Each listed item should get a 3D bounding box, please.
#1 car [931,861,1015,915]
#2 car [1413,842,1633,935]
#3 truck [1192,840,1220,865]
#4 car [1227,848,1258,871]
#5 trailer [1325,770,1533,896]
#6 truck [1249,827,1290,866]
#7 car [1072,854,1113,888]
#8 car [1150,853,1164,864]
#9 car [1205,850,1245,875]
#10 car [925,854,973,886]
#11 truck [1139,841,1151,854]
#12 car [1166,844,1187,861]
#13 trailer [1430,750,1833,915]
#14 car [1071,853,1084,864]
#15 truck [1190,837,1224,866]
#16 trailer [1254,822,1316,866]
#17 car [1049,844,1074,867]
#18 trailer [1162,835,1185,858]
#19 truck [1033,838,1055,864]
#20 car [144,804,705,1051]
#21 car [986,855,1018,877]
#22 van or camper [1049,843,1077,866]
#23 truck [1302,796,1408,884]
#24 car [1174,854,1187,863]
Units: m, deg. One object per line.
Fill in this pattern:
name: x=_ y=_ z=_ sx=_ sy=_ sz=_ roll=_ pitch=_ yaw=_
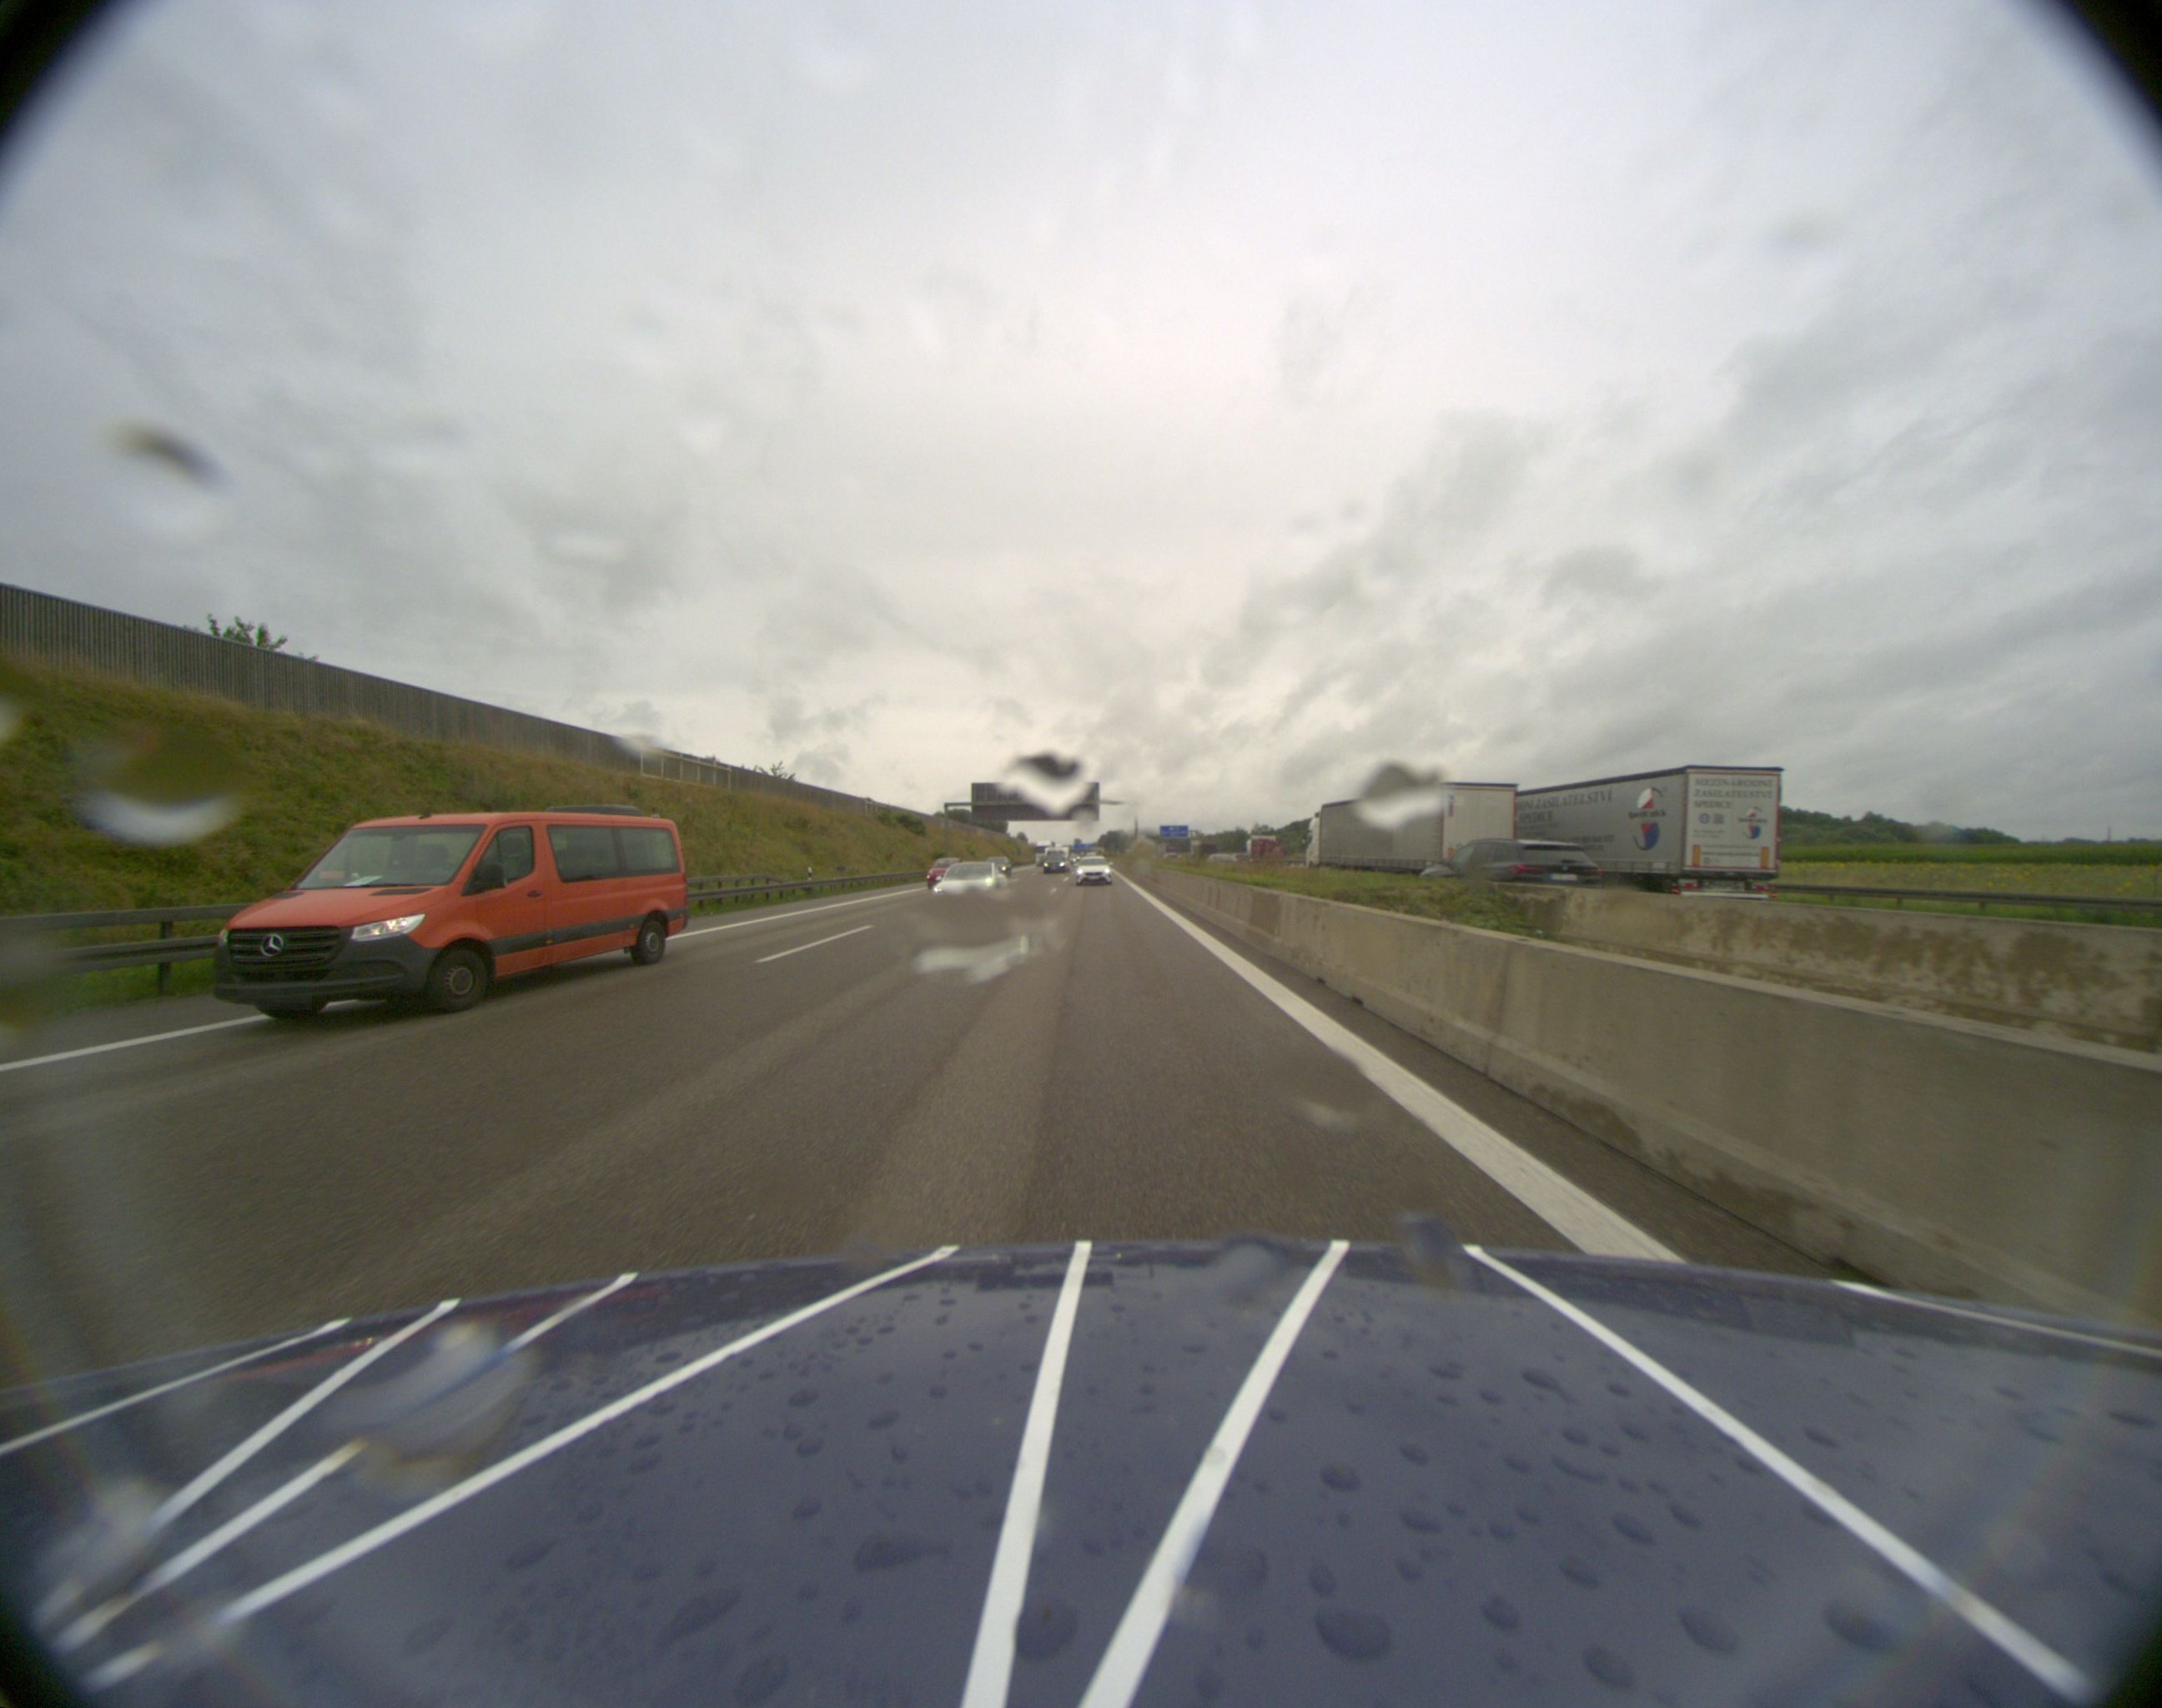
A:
car: x=-3.278 y=0.979 z=23.984 sx=1.878 sy=1.355 sz=4.812 roll=-2 pitch=1 yaw=0
car: x=9.444 y=0.640 z=16.885 sx=1.998 sy=1.754 sz=5.071 roll=0 pitch=0 yaw=1
truck: x=15.258 y=-0.265 z=93.057 sx=2.317 sy=2.892 sz=7.423 roll=-2 pitch=1 yaw=1
car: x=14.518 y=0.446 z=68.588 sx=1.998 sy=2.002 sz=4.360 roll=0 pitch=0 yaw=1
trailer: x=13.605 y=-0.784 z=31.508 sx=3.093 sy=4.065 sz=12.328 roll=-2 pitch=1 yaw=1
truck: x=19.160 y=-0.678 z=77.429 sx=2.647 sy=3.703 sz=5.872 roll=-2 pitch=-1 yaw=1
car: x=0.577 y=0.792 z=37.112 sx=1.840 sy=1.455 sz=3.999 roll=-2 pitch=1 yaw=1
car: x=12.518 y=0.783 z=125.331 sx=1.785 sy=1.707 sz=4.000 roll=-2 pitch=1 yaw=1
car: x=10.376 y=0.591 z=55.000 sx=2.098 sy=1.700 sz=4.800 roll=-1 pitch=0 yaw=2
car: x=-7.178 y=0.852 z=41.712 sx=1.878 sy=1.526 sz=3.999 roll=-2 pitch=1 yaw=0
truck: x=20.413 y=-2.091 z=243.369 sx=3.191 sy=3.944 sz=10.810 roll=-2 pitch=1 yaw=1
car: x=11.662 y=-0.239 z=92.823 sx=1.998 sy=2.002 sz=4.800 roll=0 pitch=0 yaw=1
trailer: x=18.218 y=-0.673 z=27.987 sx=3.722 sy=4.246 sz=15.622 roll=-2 pitch=1 yaw=1
car: x=-0.503 y=0.766 z=122.465 sx=1.999 sy=1.759 sz=3.999 roll=0 pitch=0 yaw=-1
truck: x=21.362 y=-0.500 z=129.285 sx=3.521 sy=4.458 sz=11.784 roll=-2 pitch=1 yaw=-1
trailer: x=19.088 y=-0.762 z=71.963 sx=2.647 sy=3.703 sz=12.195 roll=-2 pitch=-1 yaw=1
car: x=-1.736 y=0.117 z=69.946 sx=1.998 sy=2.002 sz=4.937 roll=-2 pitch=1 yaw=1
trailer: x=20.133 y=-1.528 z=165.870 sx=3.396 sy=4.741 sz=11.680 roll=-2 pitch=0 yaw=0
truck: x=-5.918 y=-0.572 z=123.462 sx=3.089 sy=4.003 sz=6.955 roll=-2 pitch=1 yaw=-1
car: x=-7.758 y=0.692 z=10.303 sx=2.091 sy=2.301 sz=6.181 roll=-1 pitch=0 yaw=1
car: x=-5.963 y=0.860 z=58.075 sx=1.929 sy=1.480 sz=4.485 roll=-2 pitch=1 yaw=0
van or camper: x=-1.742 y=-0.008 z=75.503 sx=2.432 sy=2.139 sz=6.497 roll=-2 pitch=1 yaw=1
truck: x=13.743 y=-0.696 z=38.666 sx=3.100 sy=3.953 sz=6.371 roll=-2 pitch=1 yaw=1
car: x=19.282 y=0.845 z=147.200 sx=1.887 sy=1.606 sz=5.014 roll=0 pitch=0 yaw=0
